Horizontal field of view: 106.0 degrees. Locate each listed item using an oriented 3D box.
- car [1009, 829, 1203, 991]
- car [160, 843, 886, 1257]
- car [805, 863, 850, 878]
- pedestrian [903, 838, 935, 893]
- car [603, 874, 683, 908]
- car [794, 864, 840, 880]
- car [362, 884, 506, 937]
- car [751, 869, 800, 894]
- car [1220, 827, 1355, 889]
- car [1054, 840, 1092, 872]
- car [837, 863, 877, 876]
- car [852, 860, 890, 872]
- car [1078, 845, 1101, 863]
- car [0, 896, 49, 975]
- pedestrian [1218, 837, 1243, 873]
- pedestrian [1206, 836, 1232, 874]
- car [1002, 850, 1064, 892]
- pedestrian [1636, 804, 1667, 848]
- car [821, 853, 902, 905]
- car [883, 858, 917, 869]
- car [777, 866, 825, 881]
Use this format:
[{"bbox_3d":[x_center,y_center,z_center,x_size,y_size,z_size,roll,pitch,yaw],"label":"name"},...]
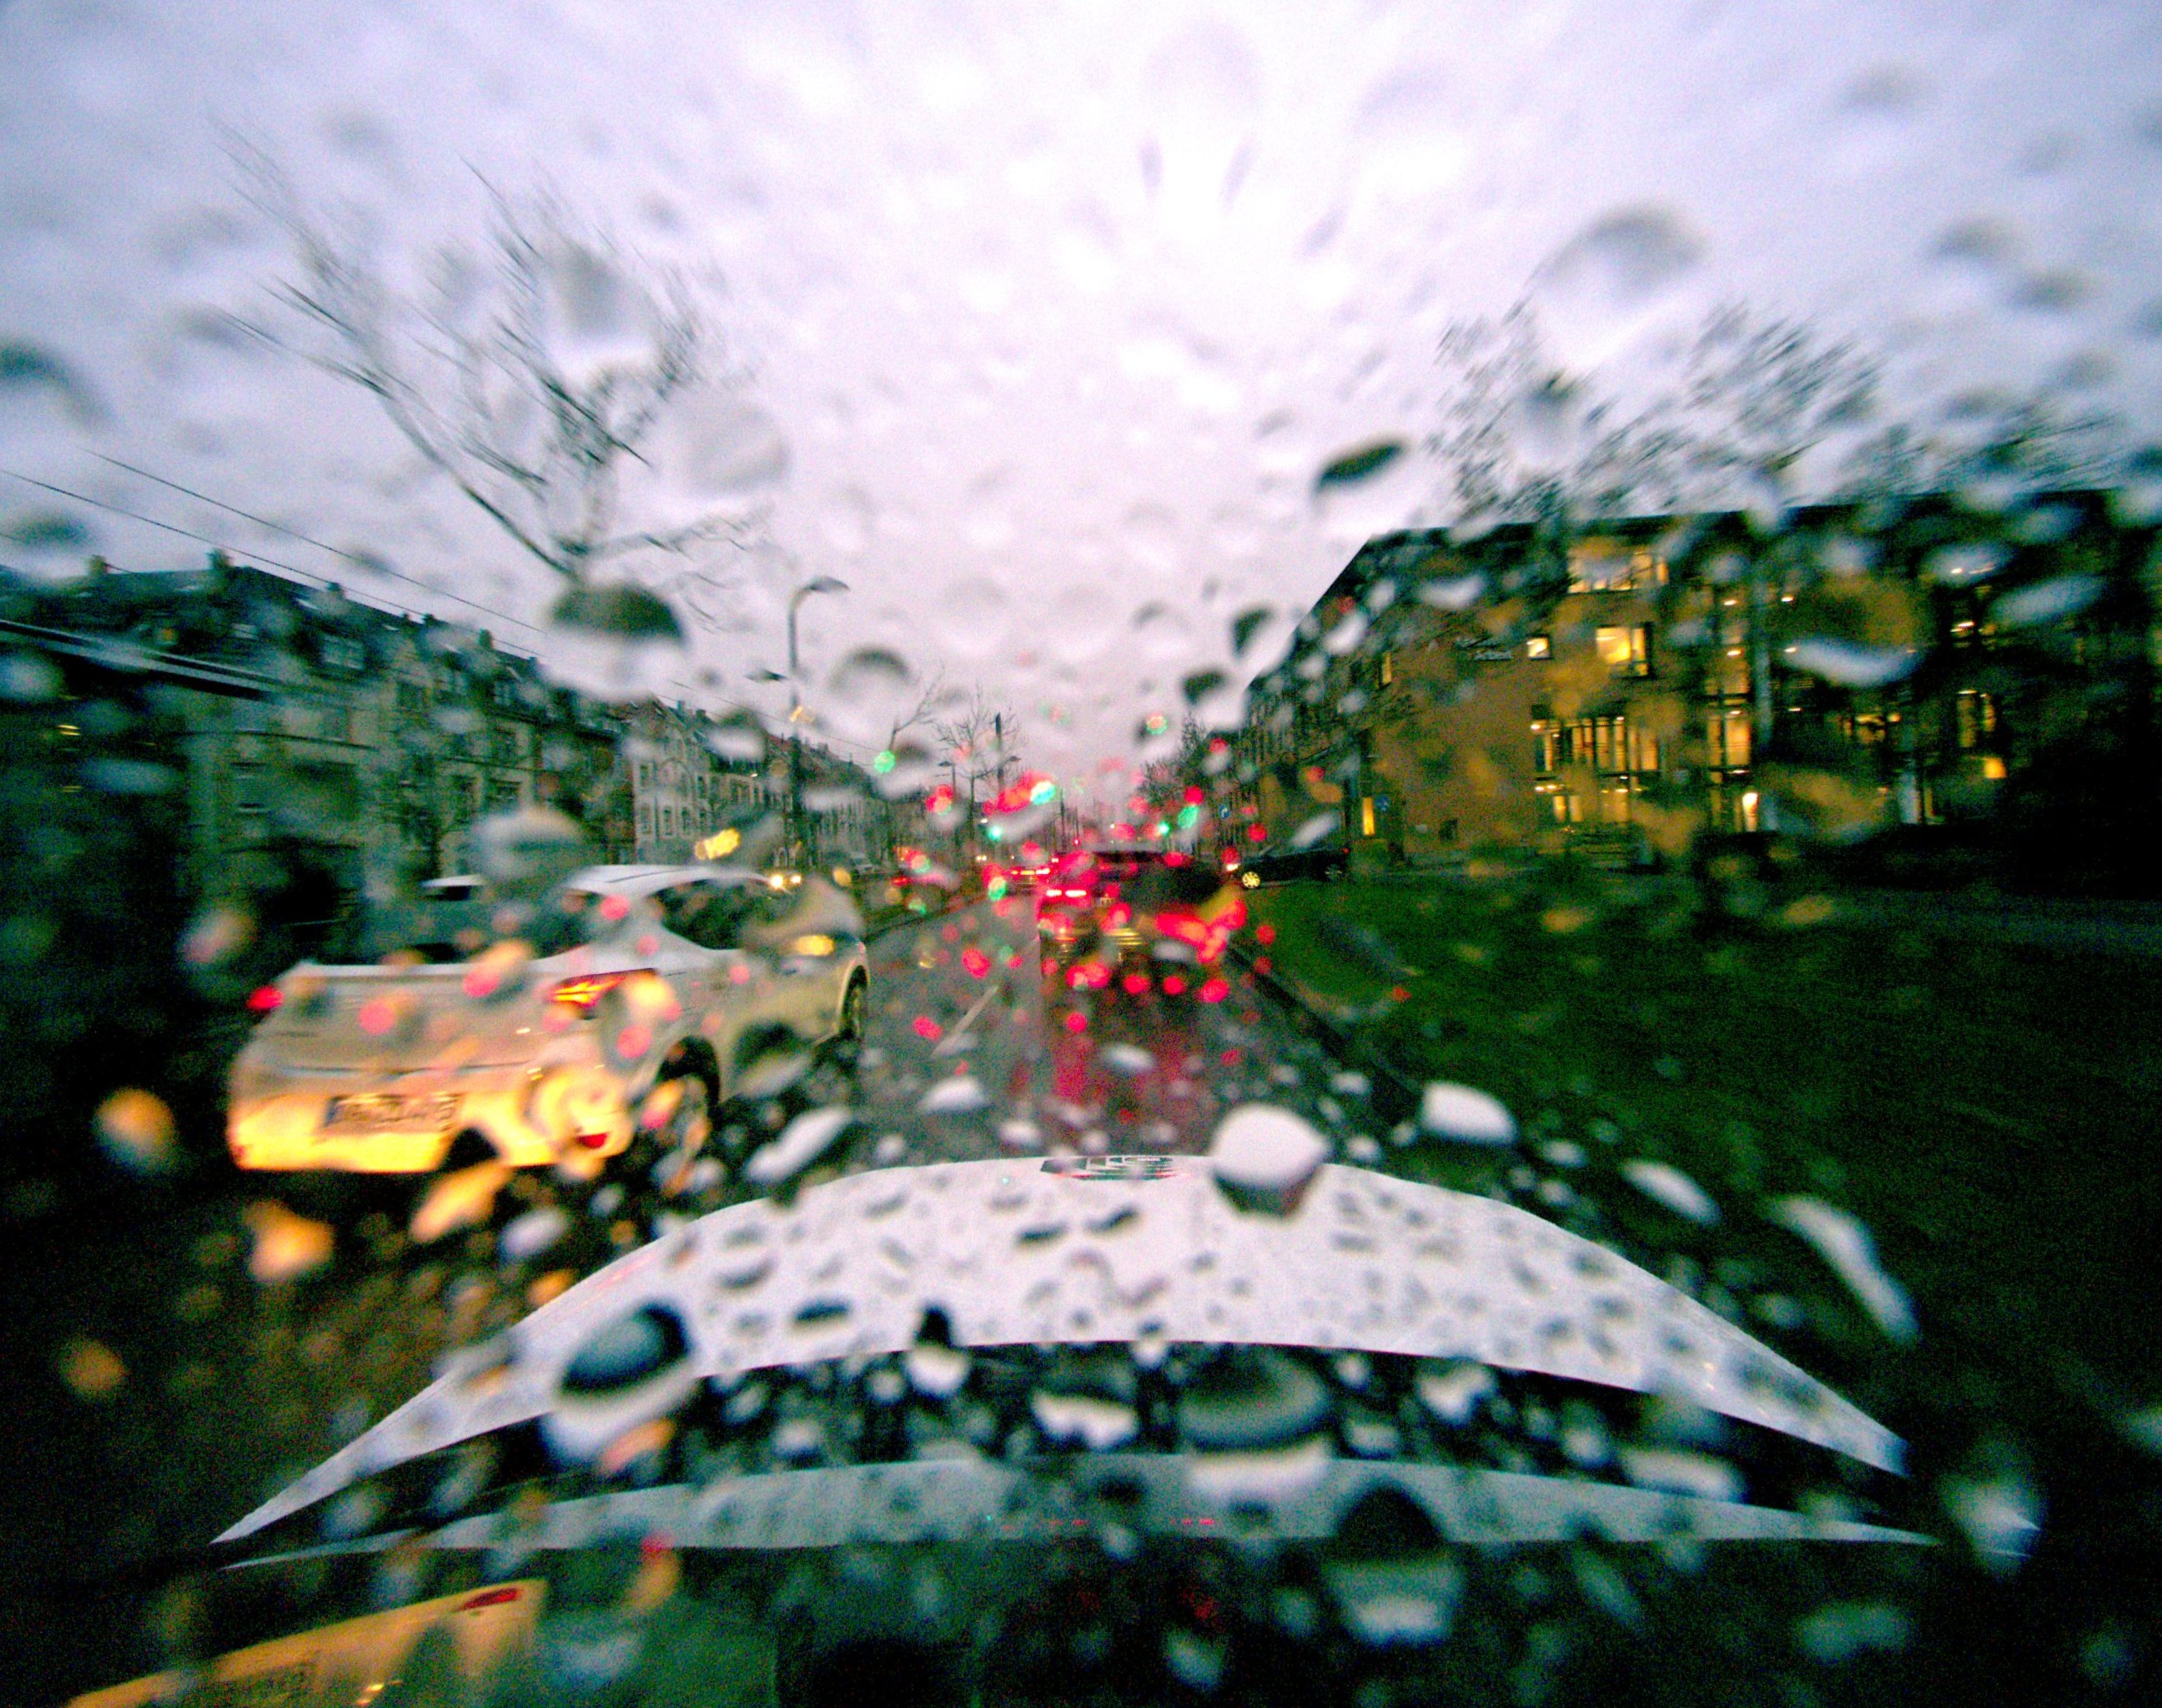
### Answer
[{"bbox_3d":[0.336,0.584,10.689,1.983,1.616,4.002,-3,0,2],"label":"car"},{"bbox_3d":[-2.609,0.723,5.106,1.620,1.487,4.002,-3,1,2],"label":"car"},{"bbox_3d":[-25.006,1.645,80.359,3.753,1.156,1.653,-4,0,7],"label":"car"},{"bbox_3d":[-4.775,0.327,24.034,0.696,1.552,0.669,-4,0,2],"label":"pedestrian"},{"bbox_3d":[-21.385,1.775,39.935,1.648,1.398,3.769,-4,0,2],"label":"car"},{"bbox_3d":[-25.074,1.713,77.448,3.753,1.156,1.653,-4,0,7],"label":"car"},{"bbox_3d":[-21.570,1.843,27.354,1.648,1.398,3.769,-4,0,2],"label":"car"},{"bbox_3d":[-20.140,1.803,53.878,1.648,1.398,3.769,-4,0,2],"label":"car"},{"bbox_3d":[6.587,0.116,26.258,3.844,1.560,1.767,-6,0,3],"label":"car"},{"bbox_3d":[-0.450,0.100,49.484,1.986,1.765,4.002,-3,0,2],"label":"car"},{"bbox_3d":[-24.092,1.649,87.572,3.753,1.156,1.653,-4,0,7],"label":"car"},{"bbox_3d":[-24.124,1.387,93.622,3.753,1.156,1.653,-4,0,7],"label":"car"},{"bbox_3d":[0.839,-0.015,82.002,1.985,1.618,4.005,-3,0,4],"label":"car"},{"bbox_3d":[-21.852,1.664,14.639,1.648,1.490,3.769,-4,0,2],"label":"car"},{"bbox_3d":[6.956,0.049,37.930,0.893,1.596,0.505,-4,0,44],"label":"pedestrian"},{"bbox_3d":[6.052,0.058,35.796,0.893,1.596,0.505,-4,0,44],"label":"pedestrian"},{"bbox_3d":[-1.790,0.602,31.503,1.986,1.398,4.001,-3,0,1],"label":"car"},{"bbox_3d":[21.683,-1.059,30.960,0.628,1.637,0.738,-4,0,8],"label":"pedestrian"},{"bbox_3d":[-8.865,0.959,33.245,1.986,1.823,4.002,-4,0,2],"label":"car"},{"bbox_3d":[-23.026,1.240,103.674,3.753,1.156,1.653,-4,0,7],"label":"car"},{"bbox_3d":[-25.616,1.782,74.551,3.753,1.156,1.653,-4,0,7],"label":"car"}]
